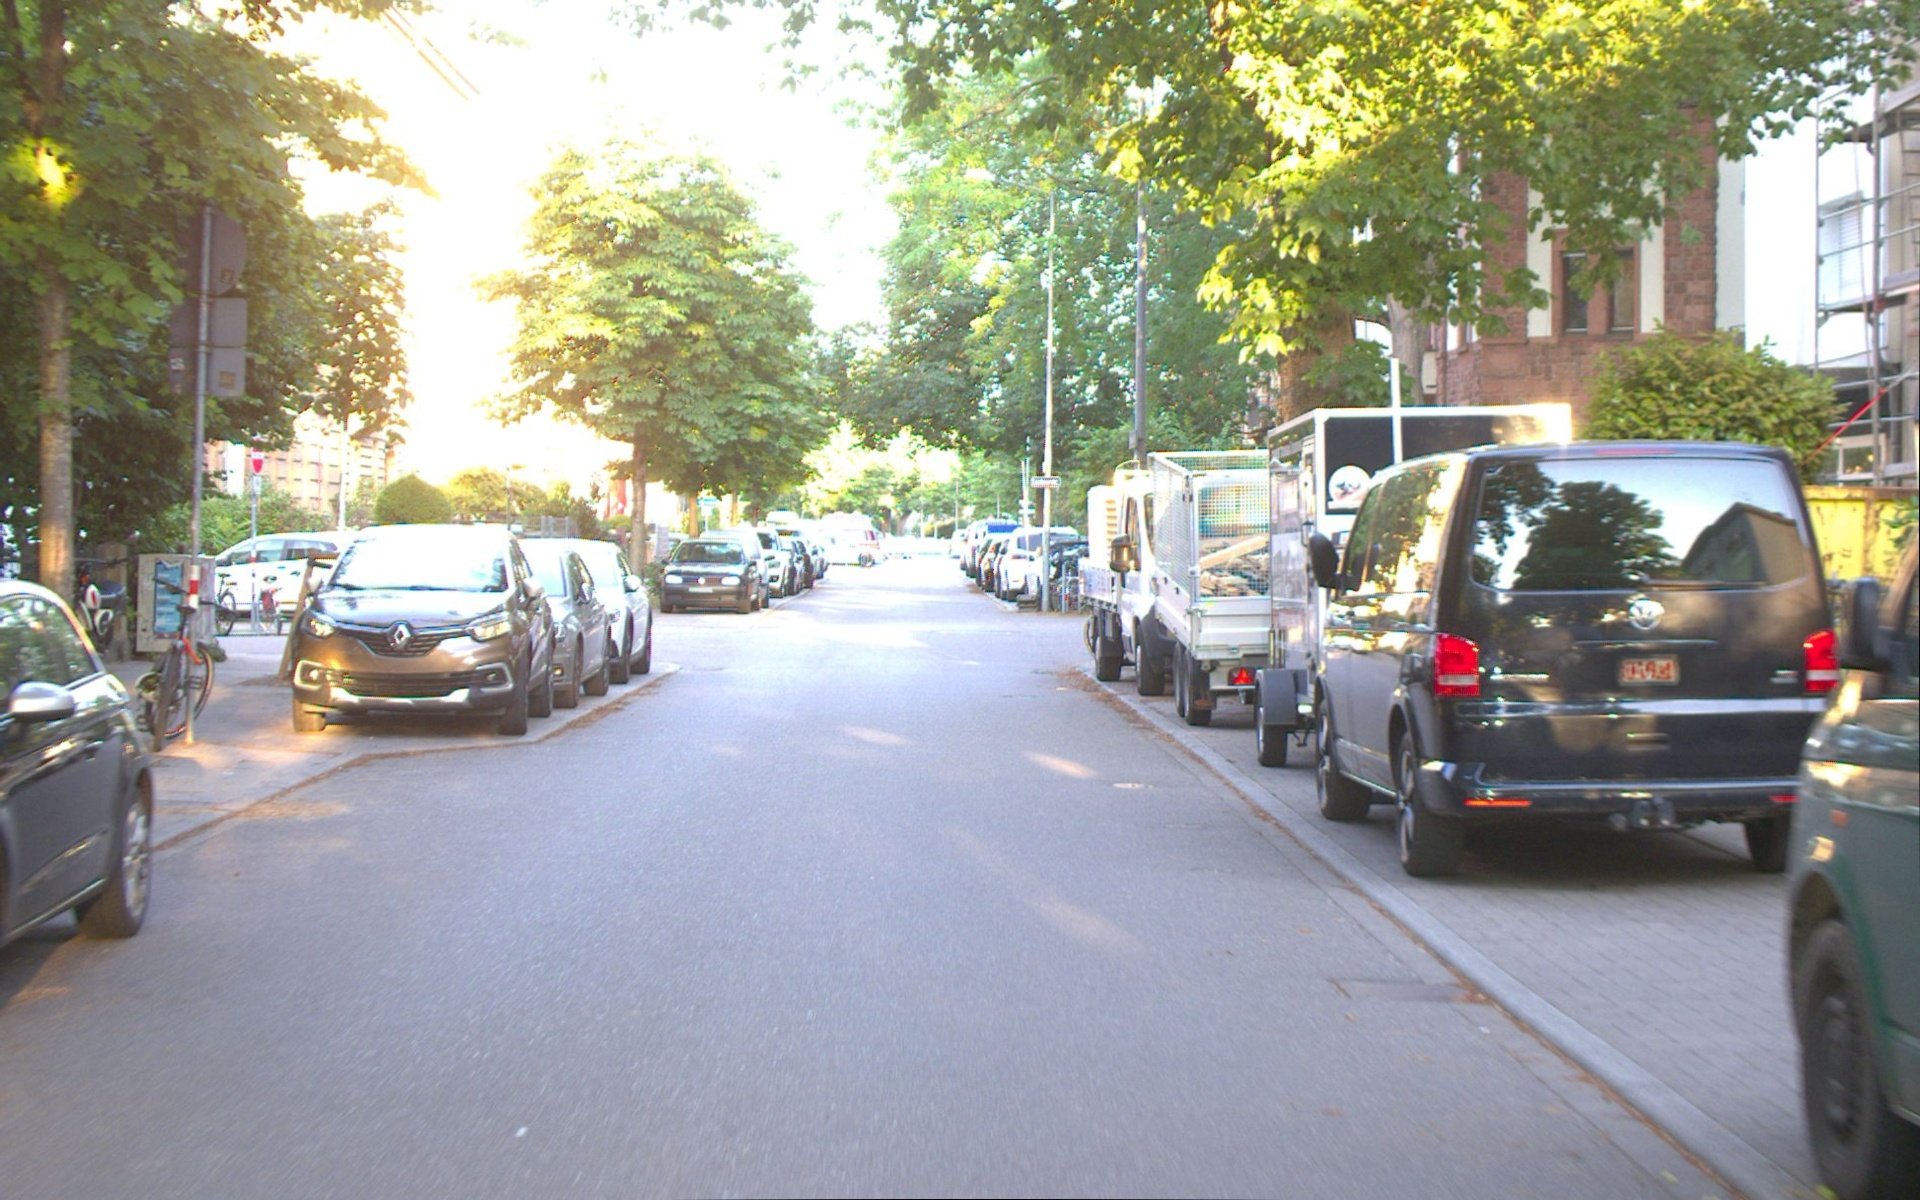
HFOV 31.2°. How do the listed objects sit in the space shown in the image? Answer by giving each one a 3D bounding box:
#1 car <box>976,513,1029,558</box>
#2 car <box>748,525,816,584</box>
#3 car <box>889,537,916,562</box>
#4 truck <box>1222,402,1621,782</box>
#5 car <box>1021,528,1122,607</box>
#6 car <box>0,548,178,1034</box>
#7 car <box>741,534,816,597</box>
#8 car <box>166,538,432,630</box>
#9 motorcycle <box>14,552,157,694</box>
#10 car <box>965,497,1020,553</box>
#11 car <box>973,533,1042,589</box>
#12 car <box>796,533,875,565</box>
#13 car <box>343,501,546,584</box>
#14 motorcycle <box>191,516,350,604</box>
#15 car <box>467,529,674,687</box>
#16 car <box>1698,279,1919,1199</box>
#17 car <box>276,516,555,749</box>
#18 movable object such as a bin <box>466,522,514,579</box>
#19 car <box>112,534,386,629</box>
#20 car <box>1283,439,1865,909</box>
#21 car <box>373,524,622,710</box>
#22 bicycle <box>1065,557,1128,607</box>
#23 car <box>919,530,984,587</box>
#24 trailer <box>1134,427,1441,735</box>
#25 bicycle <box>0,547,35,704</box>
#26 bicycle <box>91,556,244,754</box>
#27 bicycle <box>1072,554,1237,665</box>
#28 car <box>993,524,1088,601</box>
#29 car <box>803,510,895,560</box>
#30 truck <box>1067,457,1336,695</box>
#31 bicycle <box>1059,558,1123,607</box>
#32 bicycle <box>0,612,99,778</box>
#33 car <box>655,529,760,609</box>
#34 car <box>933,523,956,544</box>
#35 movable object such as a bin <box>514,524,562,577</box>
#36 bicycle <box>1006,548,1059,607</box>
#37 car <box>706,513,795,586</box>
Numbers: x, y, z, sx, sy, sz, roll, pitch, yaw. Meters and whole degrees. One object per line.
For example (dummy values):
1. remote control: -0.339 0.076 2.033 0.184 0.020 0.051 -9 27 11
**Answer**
1. car: 1.449 -2.195 117.909 1.538 1.516 3.432 1 1 -3
2. car: -4.906 -1.268 95.146 1.715 1.561 3.788 1 1 -1
3. car: -3.847 -3.395 229.735 1.813 1.590 3.483 1 1 -1
4. truck: 2.984 -0.121 23.213 1.954 2.238 4.645 -2 2 0
5. car: 2.319 -0.704 72.072 1.686 1.587 3.659 0 1 -5
6. car: -3.829 0.591 11.850 1.551 1.480 3.694 0 2 -2
7. car: -4.585 -0.872 87.214 1.715 1.561 3.781 1 0 -1
8. car: -11.320 -0.293 58.958 4.094 1.442 1.817 1 2 10
9. motorcycle: -8.094 0.182 31.944 0.582 1.152 2.892 3 2 -1
10. car: 1.136 -2.659 122.032 1.680 1.934 3.881 1 1 -3
11. car: 1.267 -1.070 93.476 1.686 1.436 4.210 -1 1 -1
12. car: -5.846 -2.409 161.560 3.618 1.456 1.607 1 1 -4
13. car: -11.112 -1.256 74.328 4.092 1.522 1.709 4 1 -2
14. motorcycle: -12.978 -0.757 64.734 2.853 1.633 0.675 1 1 8
15. car: -4.179 0.032 37.488 1.689 1.497 4.738 3 1 -1
16. car: 2.950 0.366 6.287 1.954 2.051 4.831 -2 2 -2
17. car: -4.145 0.183 26.730 1.689 1.558 4.403 3 1 -4
18. movable object such as a bin: -12.278 -1.304 89.807 1.096 1.409 1.005 2 2 -14
19. car: -11.724 -0.324 56.804 4.094 1.442 1.709 1 2 8
20. car: 2.834 0.242 16.937 1.839 1.936 4.614 -2 2 -2
21. car: -4.183 0.125 31.696 1.689 1.497 4.403 3 1 -1
22. bicycle: 2.686 -0.351 67.641 1.224 0.954 0.330 -1 2 -23
23. car: -0.269 -1.221 101.128 1.686 1.600 3.940 1 1 -3
24. trailer: 2.628 -0.202 28.664 1.954 2.288 4.645 -2 1 -1
25. bicycle: -8.380 0.222 27.453 0.606 1.280 2.483 0 1 19
26. bicycle: -5.433 0.355 23.670 0.482 1.251 1.900 4 2 2
27. bicycle: 2.334 0.108 41.325 1.902 1.254 0.407 -2 1 -6
28. car: 1.807 -0.857 78.215 1.798 1.705 4.602 0 1 -3
29. car: -5.298 -3.124 164.336 4.349 2.310 1.746 1 1 -2
30. truck: 2.380 -0.272 35.750 1.977 2.237 6.777 0 1 -3
31. bicycle: 2.605 -0.350 68.341 1.224 0.944 0.330 -1 2 -23
32. bicycle: -5.862 0.572 21.527 0.415 0.926 1.734 3 2 2
33. car: -4.878 -0.632 66.846 1.616 1.465 3.961 1 1 2
34. car: -1.183 -5.039 260.753 1.715 1.590 3.483 1 1 -1
35. movable object such as a bin: -11.041 -1.309 89.981 1.013 1.316 1.005 3 2 4
36. bicycle: 1.460 -0.456 69.169 0.444 1.169 1.634 1 1 24
37. car: -5.045 -1.242 83.328 1.921 1.711 4.428 1 1 -1
